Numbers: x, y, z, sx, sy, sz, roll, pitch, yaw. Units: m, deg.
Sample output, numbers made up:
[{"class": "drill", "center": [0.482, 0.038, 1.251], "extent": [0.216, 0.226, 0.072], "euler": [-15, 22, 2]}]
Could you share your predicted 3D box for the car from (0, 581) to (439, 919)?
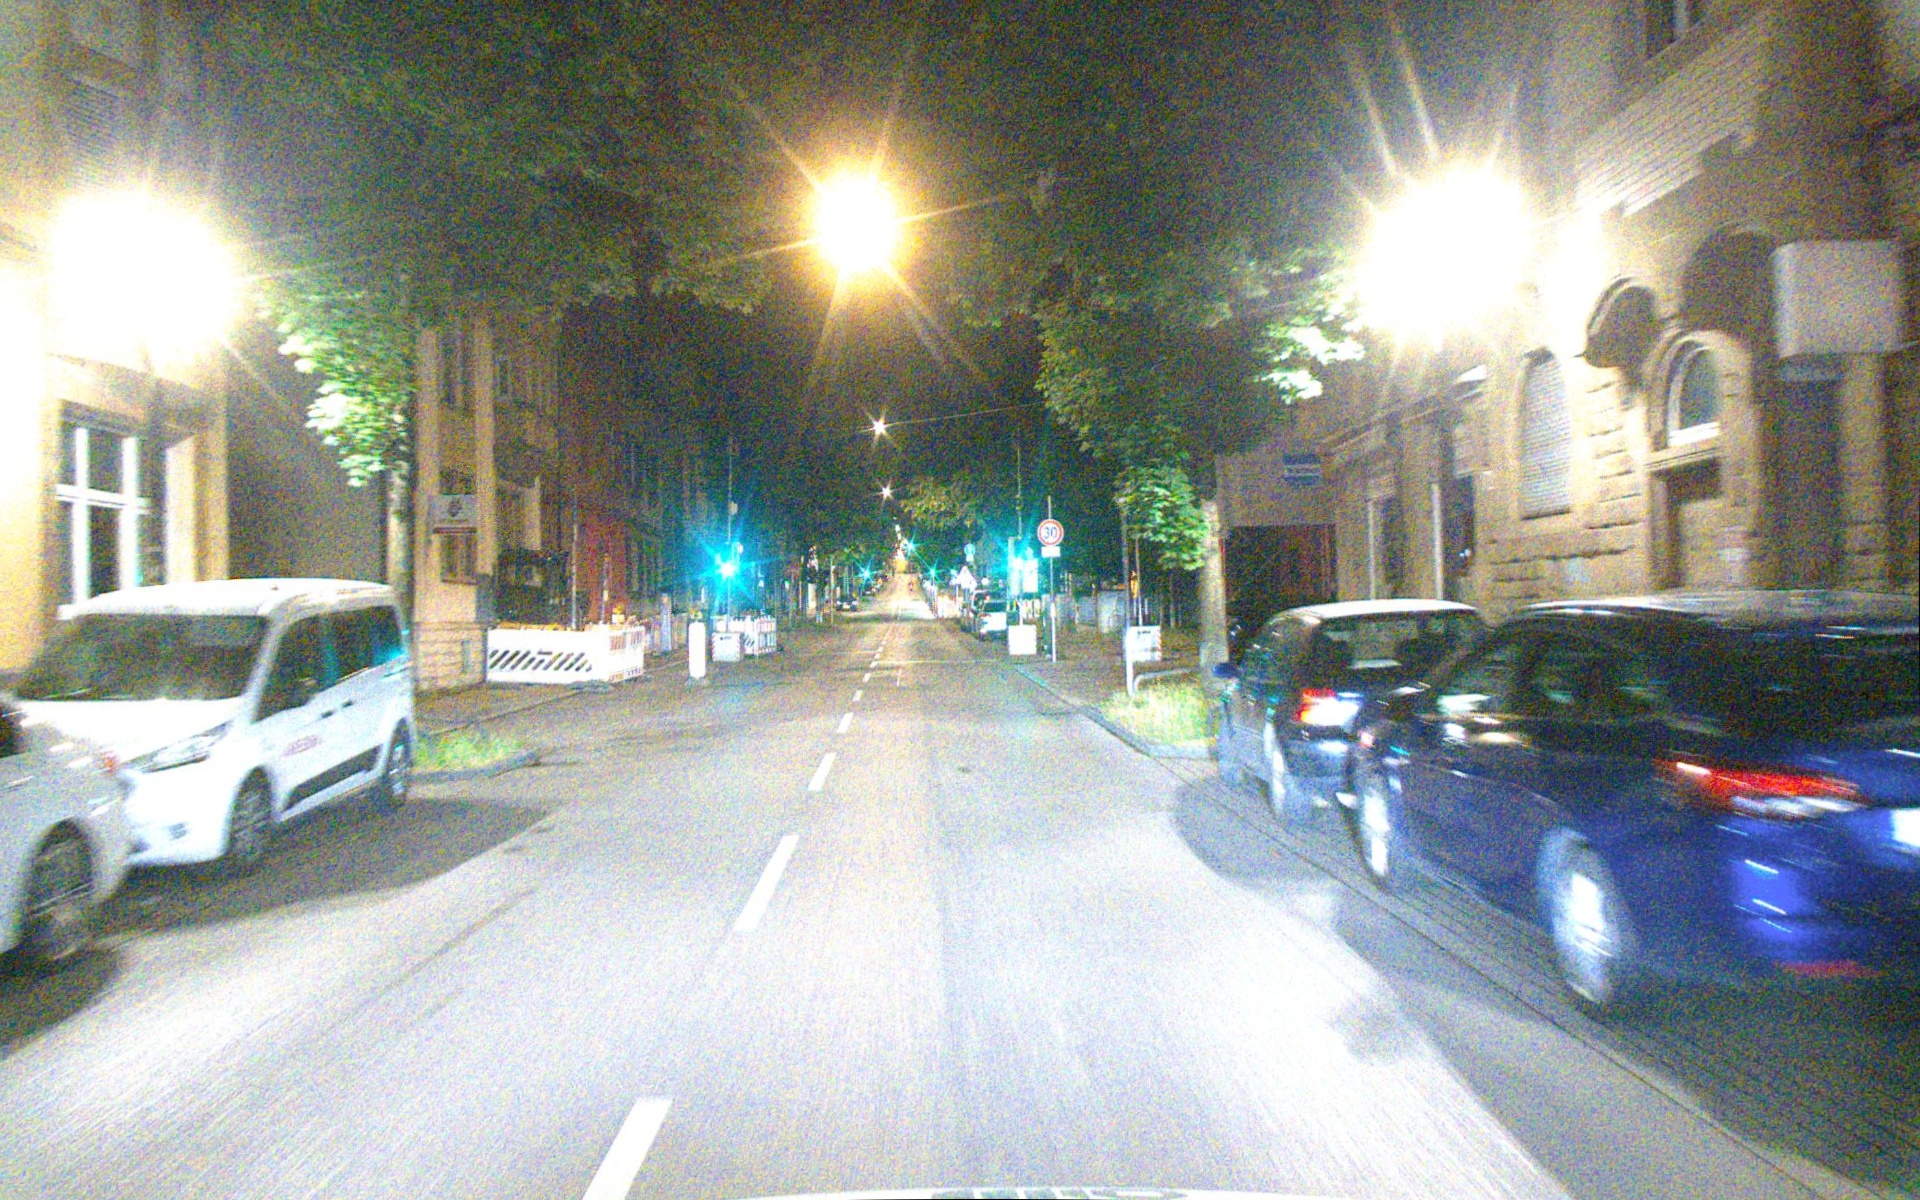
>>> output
[{"class": "car", "center": [-5.340, 0.855, 11.825], "extent": [1.845, 1.875, 4.812], "euler": [-2, 0, -3]}]

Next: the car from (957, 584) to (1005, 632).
[{"class": "car", "center": [0.878, 0.312, 71.253], "extent": [1.701, 1.887, 4.313], "euler": [-3, 1, -3]}]

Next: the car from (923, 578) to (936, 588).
[{"class": "car", "center": [-4.806, -2.686, 260.975], "extent": [1.836, 1.571, 4.203], "euler": [-2, 1, -2]}]

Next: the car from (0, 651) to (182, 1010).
[{"class": "car", "center": [-4.981, 1.029, 6.253], "extent": [1.801, 1.475, 4.880], "euler": [-2, 0, -1]}]

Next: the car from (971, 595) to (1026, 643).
[{"class": "car", "center": [1.375, 0.664, 60.278], "extent": [1.705, 1.503, 3.999], "euler": [-5, 1, -1]}]

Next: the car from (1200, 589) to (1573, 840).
[{"class": "car", "center": [2.947, 0.706, 12.303], "extent": [1.701, 1.479, 4.000], "euler": [-3, 0, 0]}]

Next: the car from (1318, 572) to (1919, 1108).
[{"class": "car", "center": [3.013, 0.696, 7.161], "extent": [1.698, 1.527, 4.464], "euler": [-3, 0, -3]}]

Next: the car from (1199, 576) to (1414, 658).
[{"class": "car", "center": [7.089, 0.355, 34.115], "extent": [3.935, 1.447, 1.851], "euler": [-3, -1, -4]}]

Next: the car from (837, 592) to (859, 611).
[{"class": "car", "center": [-9.378, 0.131, 138.274], "extent": [1.637, 1.468, 4.203], "euler": [-2, 1, -2]}]

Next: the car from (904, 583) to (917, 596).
[{"class": "car", "center": [-7.661, -1.617, 254.683], "extent": [1.835, 1.846, 4.204], "euler": [-2, 1, -1]}]

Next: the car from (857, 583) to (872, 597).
[{"class": "car", "center": [-12.129, -1.260, 210.265], "extent": [1.836, 1.571, 4.203], "euler": [-2, 1, -2]}]

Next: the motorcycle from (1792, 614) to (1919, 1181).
[{"class": "motorcycle", "center": [3.430, 0.707, 4.352], "extent": [2.017, 1.430, 0.922], "euler": [-4, 0, -12]}]

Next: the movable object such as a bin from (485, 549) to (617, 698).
[{"class": "movable object such as a bin", "center": [-8.004, 0.419, 32.683], "extent": [1.539, 2.672, 3.909], "euler": [-3, 0, -1]}]
